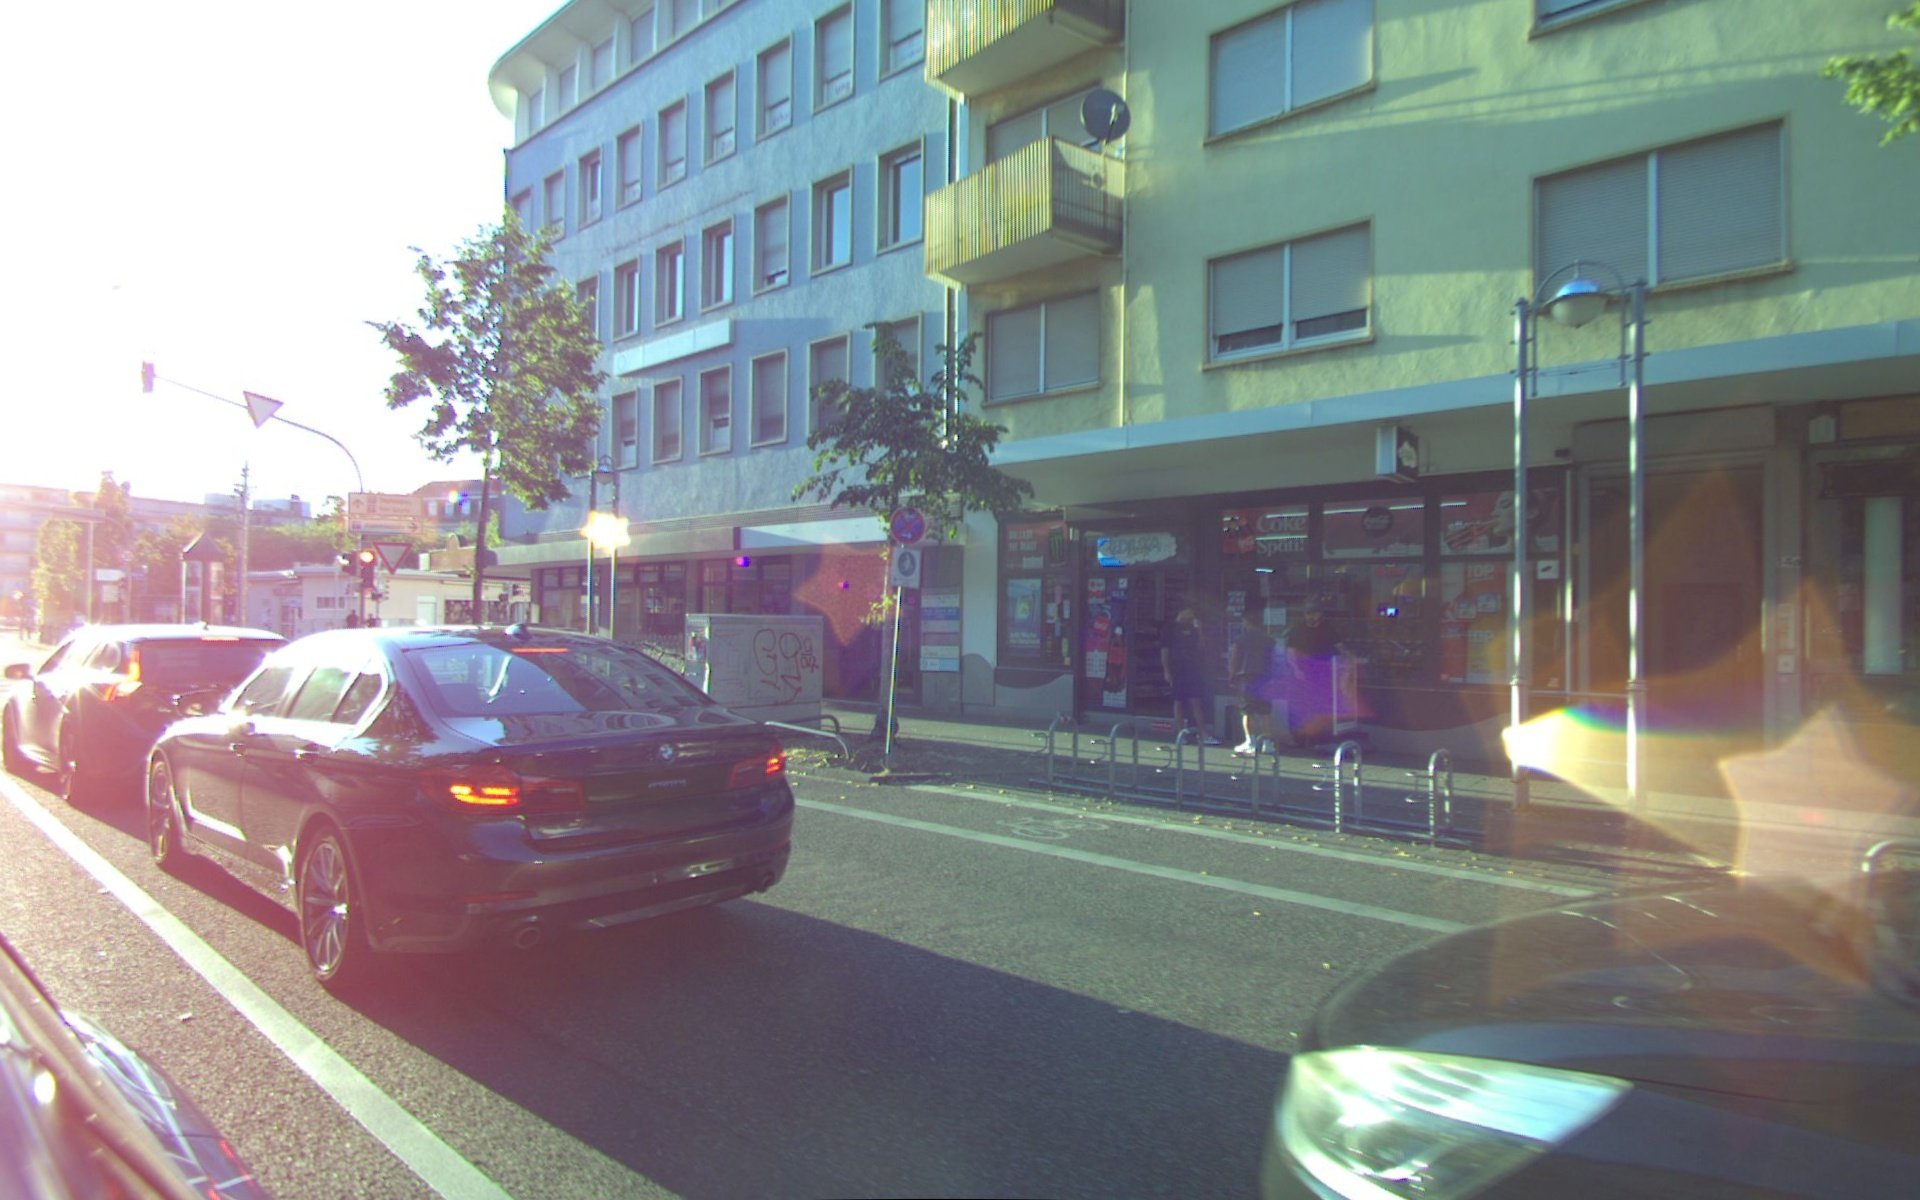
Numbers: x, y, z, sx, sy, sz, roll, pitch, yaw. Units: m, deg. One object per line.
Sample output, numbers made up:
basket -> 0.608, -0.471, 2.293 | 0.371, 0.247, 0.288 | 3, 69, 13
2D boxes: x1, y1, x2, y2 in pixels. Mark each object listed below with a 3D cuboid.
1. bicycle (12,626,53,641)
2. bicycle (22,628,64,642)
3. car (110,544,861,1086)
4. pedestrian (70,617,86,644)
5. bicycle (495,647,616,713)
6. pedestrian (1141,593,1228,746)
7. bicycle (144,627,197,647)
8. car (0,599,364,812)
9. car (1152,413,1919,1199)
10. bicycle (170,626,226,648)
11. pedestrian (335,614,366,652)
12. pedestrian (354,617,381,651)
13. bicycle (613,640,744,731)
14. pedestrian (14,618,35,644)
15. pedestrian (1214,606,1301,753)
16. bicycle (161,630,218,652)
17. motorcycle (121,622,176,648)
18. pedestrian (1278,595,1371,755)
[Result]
bicycle -> -72.148, 2.582, 78.744 | 2.365, 1.079, 0.673 | 0, 0, -42
bicycle -> -69.916, 2.650, 77.172 | 2.365, 0.966, 0.673 | 0, 0, -42
car -> -2.816, 0.690, 5.377 | 4.614, 1.657, 1.925 | 0, -2, 42
pedestrian -> -56.621, 1.928, 64.972 | 0.767, 1.689, 0.908 | 0, 0, -41
bicycle -> -7.003, 1.357, 17.611 | 0.490, 0.999, 1.991 | 0, 0, 37
pedestrian -> 2.858, 0.863, 12.883 | 0.758, 1.862, 0.744 | 1, -3, -39
bicycle -> -43.621, 2.062, 55.933 | 0.779, 1.096, 2.152 | 0, -2, 41
car -> -7.636, 0.852, 9.633 | 4.505, 1.559, 1.938 | -2, -3, 39
car -> 2.499, 0.640, 0.598 | 4.464, 1.561, 1.705 | 0, -2, 42
bicycle -> -39.174, 1.883, 52.035 | 0.777, 1.096, 2.171 | 0, -1, 35
pedestrian -> -29.063, 1.559, 48.256 | 0.874, 1.798, 0.901 | 0, 0, 18
pedestrian -> -29.642, 1.707, 50.642 | 0.896, 1.689, 0.778 | 0, 0, 6
bicycle -> -4.241, 1.257, 15.385 | 0.491, 1.228, 1.988 | 0, 0, 41
pedestrian -> -59.913, 1.978, 64.807 | 0.892, 1.689, 0.781 | 0, 0, -37
pedestrian -> 3.534, 0.919, 12.080 | 0.758, 1.689, 0.744 | 0, -1, -6
bicycle -> -40.090, 2.123, 52.686 | 0.777, 1.096, 2.196 | 0, -1, 35
motorcycle -> -46.308, 1.986, 57.783 | 2.416, 1.376, 0.780 | 0, -1, -44
pedestrian -> 4.376, 0.879, 12.149 | 0.813, 1.833, 0.732 | -2, -3, 43
